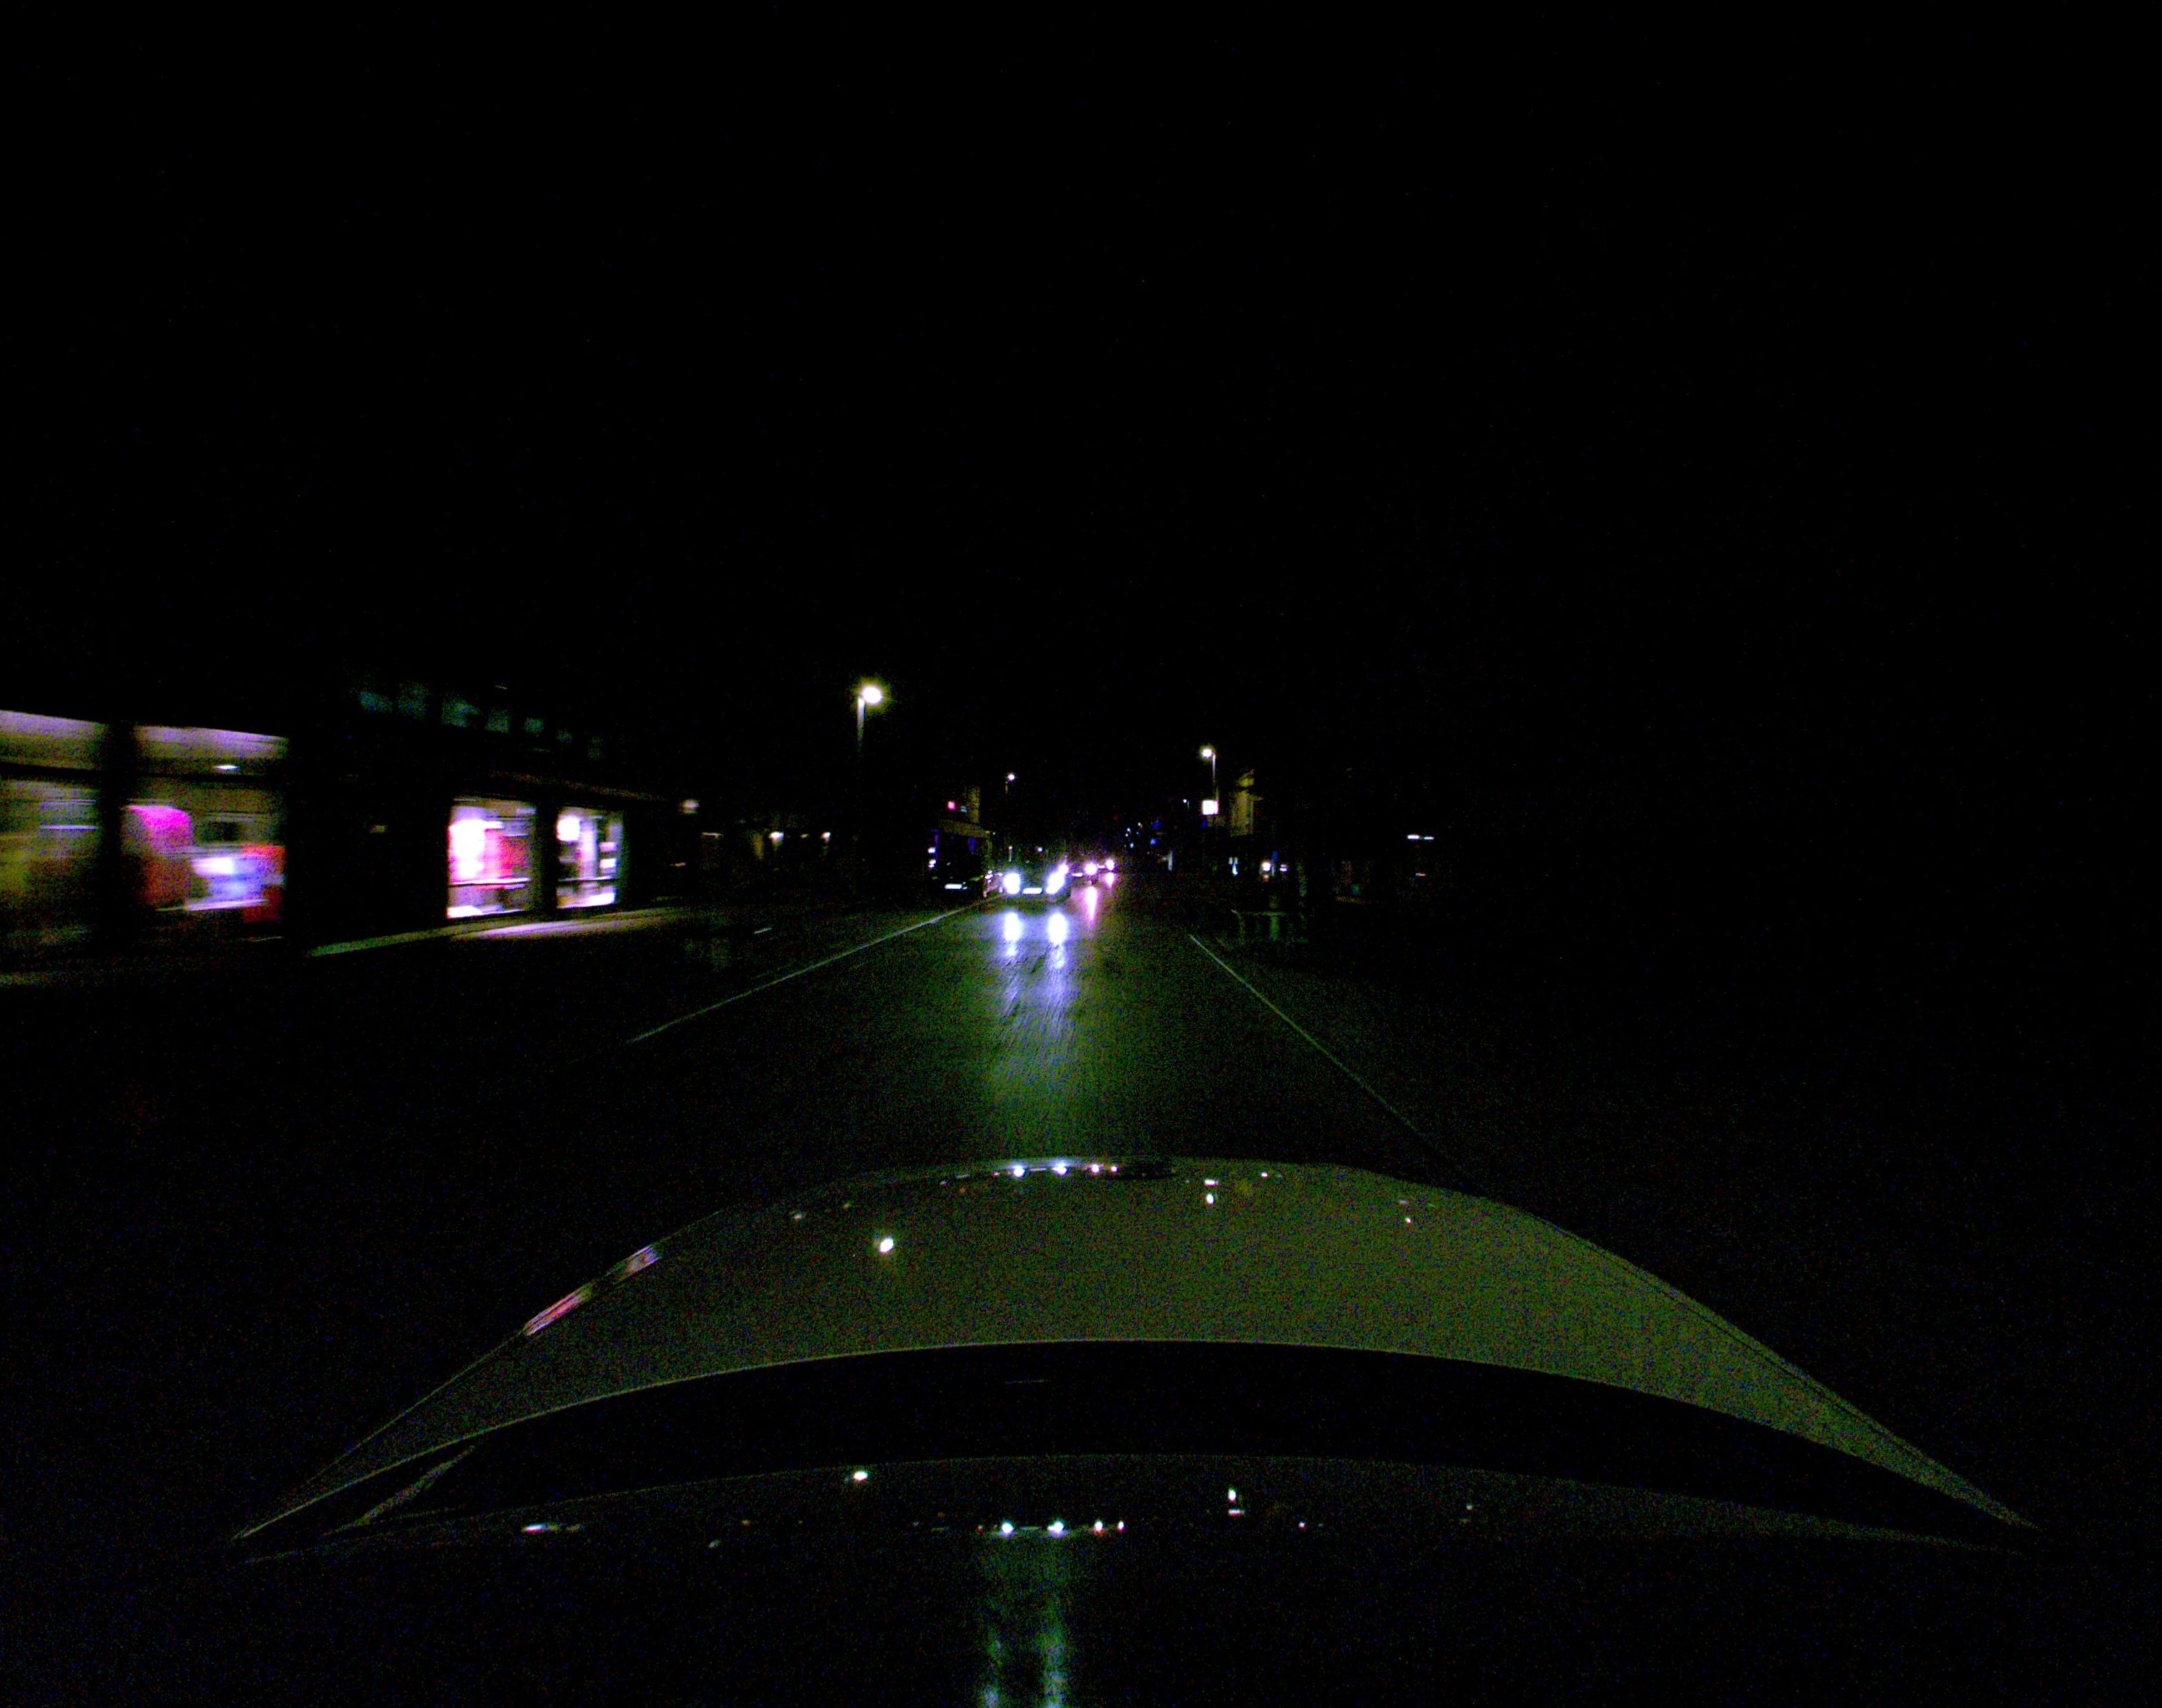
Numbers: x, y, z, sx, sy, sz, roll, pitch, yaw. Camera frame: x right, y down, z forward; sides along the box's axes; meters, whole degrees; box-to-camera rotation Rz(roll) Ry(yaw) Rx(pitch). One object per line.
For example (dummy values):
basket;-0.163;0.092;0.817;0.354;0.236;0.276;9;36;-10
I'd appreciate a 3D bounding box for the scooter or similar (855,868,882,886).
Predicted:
scooter or similar;-9.574;1.039;36.693;1.092;0.781;0.524;0;0;-1

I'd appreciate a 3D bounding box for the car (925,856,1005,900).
car;-4.001;0.797;28.767;1.906;1.370;4.461;0;0;3

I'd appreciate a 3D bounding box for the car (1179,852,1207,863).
car;15.822;0.489;115.024;3.965;1.416;2.004;0;-2;7

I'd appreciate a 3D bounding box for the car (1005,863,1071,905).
car;-1.321;0.928;26.836;1.716;1.247;4.240;0;0;3

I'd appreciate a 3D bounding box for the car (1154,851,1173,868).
car;8.297;0.535;82.105;1.768;1.652;4.367;0;0;3

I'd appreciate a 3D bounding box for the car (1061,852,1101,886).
car;0.042;0.742;42.288;1.768;1.652;4.368;0;0;3

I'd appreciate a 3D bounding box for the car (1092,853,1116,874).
car;1.873;0.729;64.808;1.768;1.652;4.367;0;0;3
